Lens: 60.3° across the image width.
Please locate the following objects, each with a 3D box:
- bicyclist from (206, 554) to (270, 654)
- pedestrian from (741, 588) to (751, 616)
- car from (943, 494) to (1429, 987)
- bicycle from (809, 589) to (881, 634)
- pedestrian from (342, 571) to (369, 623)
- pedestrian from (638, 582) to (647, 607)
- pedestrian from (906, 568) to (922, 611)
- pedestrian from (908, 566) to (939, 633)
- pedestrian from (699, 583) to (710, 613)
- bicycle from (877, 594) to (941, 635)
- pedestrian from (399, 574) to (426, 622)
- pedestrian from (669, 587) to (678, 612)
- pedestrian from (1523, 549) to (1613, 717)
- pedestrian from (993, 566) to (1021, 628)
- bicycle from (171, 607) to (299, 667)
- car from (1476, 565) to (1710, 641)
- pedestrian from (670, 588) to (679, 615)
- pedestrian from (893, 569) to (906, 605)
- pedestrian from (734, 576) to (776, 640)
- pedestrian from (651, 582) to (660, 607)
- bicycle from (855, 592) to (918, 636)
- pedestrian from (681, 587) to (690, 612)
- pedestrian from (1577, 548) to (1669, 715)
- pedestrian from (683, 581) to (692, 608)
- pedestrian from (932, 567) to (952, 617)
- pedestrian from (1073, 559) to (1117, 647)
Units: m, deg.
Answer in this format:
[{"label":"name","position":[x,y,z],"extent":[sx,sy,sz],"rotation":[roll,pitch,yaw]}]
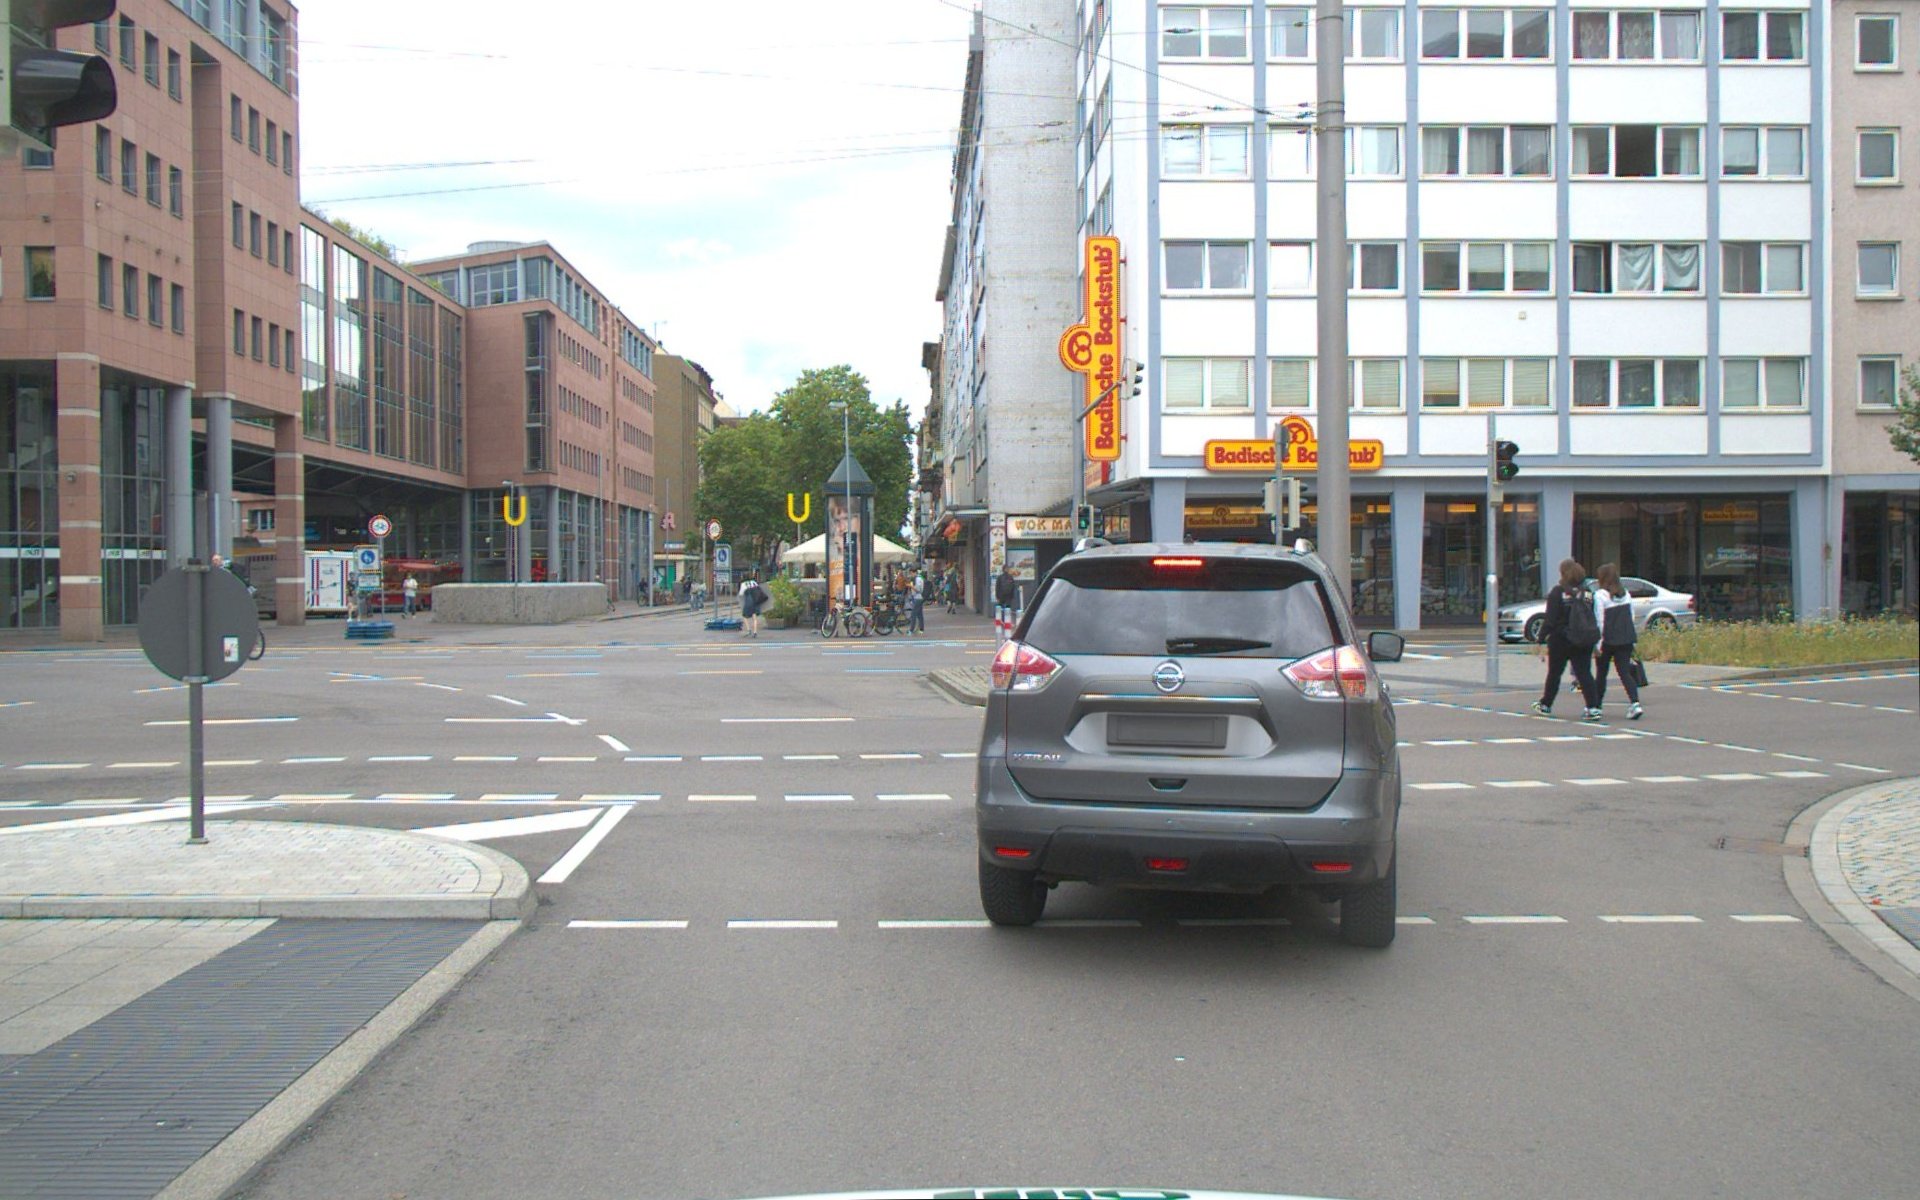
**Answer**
[{"label":"bicyclist","position":[-13.614,0.065,31.189],"extent":[0.861,1.844,0.832],"rotation":[1,0,40]},{"label":"pedestrian","position":[-13.545,0.132,104.722],"extent":[0.589,1.744,0.654],"rotation":[0,0,-9]},{"label":"car","position":[1.342,0.496,8.486],"extent":[1.823,1.806,4.571],"rotation":[0,0,13]},{"label":"bicycle","position":[-3.074,0.309,44.101],"extent":[1.837,1.192,0.528],"rotation":[0,0,-17]},{"label":"pedestrian","position":[-22.033,-0.118,60.283],"extent":[0.686,1.874,0.734],"rotation":[0,0,-1]},{"label":"pedestrian","position":[-22.039,-0.399,114.737],"extent":[0.589,1.744,0.654],"rotation":[0,0,-9]},{"label":"pedestrian","position":[-1.867,-0.416,67.066],"extent":[0.630,1.734,0.559],"rotation":[0,0,-1]},{"label":"pedestrian","position":[-0.979,-0.011,44.015],"extent":[0.719,1.776,0.661],"rotation":[0,0,-10]},{"label":"pedestrian","position":[-13.525,-0.119,87.555],"extent":[0.589,1.563,0.654],"rotation":[0,0,-9]},{"label":"bicycle","position":[-1.361,0.376,44.400],"extent":[1.660,1.084,0.437],"rotation":[0,0,4]},{"label":"pedestrian","position":[-21.484,-0.067,64.868],"extent":[0.685,1.874,0.735],"rotation":[0,0,17]},{"label":"pedestrian","position":[-19.527,-0.032,112.902],"extent":[0.589,1.744,0.654],"rotation":[0,0,-9]},{"label":"pedestrian","position":[6.644,0.354,18.101],"extent":[0.610,1.792,0.778],"rotation":[0,0,-10]},{"label":"pedestrian","position":[1.335,-0.098,46.846],"extent":[0.695,1.734,0.735],"rotation":[0,0,10]},{"label":"bicycle","position":[-13.748,0.675,31.284],"extent":[3.217,1.063,0.900],"rotation":[0,0,40]},{"label":"car","position":[13.819,0.062,36.233],"extent":[4.463,1.507,1.747],"rotation":[-1,0,-5]},{"label":"pedestrian","position":[-18.077,0.094,104.752],"extent":[0.589,1.744,0.654],"rotation":[0,0,-9]},{"label":"pedestrian","position":[-2.981,-0.641,81.785],"extent":[0.599,1.734,0.619],"rotation":[0,0,-1]},{"label":"pedestrian","position":[-5.560,0.211,44.838],"extent":[0.906,1.734,0.735],"rotation":[1,0,17]},{"label":"pedestrian","position":[-21.122,-0.390,114.601],"extent":[0.589,1.744,0.654],"rotation":[0,0,-9]},{"label":"bicycle","position":[-2.004,0.379,44.941],"extent":[1.664,1.192,0.436],"rotation":[0,0,-9]},{"label":"pedestrian","position":[-19.060,-0.019,114.896],"extent":[0.589,1.744,0.654],"rotation":[0,0,-9]},{"label":"pedestrian","position":[7.281,0.336,18.184],"extent":[0.610,1.792,0.778],"rotation":[0,0,-10]},{"label":"pedestrian","position":[-17.231,-0.351,104.592],"extent":[0.589,1.744,0.654],"rotation":[0,0,-9]},{"label":"pedestrian","position":[-0.693,-0.306,62.838],"extent":[0.723,1.853,0.662],"rotation":[-1,0,-4]},{"label":"pedestrian","position":[2.881,0.057,35.366],"extent":[0.700,1.864,1.015],"rotation":[0,0,-10]}]
